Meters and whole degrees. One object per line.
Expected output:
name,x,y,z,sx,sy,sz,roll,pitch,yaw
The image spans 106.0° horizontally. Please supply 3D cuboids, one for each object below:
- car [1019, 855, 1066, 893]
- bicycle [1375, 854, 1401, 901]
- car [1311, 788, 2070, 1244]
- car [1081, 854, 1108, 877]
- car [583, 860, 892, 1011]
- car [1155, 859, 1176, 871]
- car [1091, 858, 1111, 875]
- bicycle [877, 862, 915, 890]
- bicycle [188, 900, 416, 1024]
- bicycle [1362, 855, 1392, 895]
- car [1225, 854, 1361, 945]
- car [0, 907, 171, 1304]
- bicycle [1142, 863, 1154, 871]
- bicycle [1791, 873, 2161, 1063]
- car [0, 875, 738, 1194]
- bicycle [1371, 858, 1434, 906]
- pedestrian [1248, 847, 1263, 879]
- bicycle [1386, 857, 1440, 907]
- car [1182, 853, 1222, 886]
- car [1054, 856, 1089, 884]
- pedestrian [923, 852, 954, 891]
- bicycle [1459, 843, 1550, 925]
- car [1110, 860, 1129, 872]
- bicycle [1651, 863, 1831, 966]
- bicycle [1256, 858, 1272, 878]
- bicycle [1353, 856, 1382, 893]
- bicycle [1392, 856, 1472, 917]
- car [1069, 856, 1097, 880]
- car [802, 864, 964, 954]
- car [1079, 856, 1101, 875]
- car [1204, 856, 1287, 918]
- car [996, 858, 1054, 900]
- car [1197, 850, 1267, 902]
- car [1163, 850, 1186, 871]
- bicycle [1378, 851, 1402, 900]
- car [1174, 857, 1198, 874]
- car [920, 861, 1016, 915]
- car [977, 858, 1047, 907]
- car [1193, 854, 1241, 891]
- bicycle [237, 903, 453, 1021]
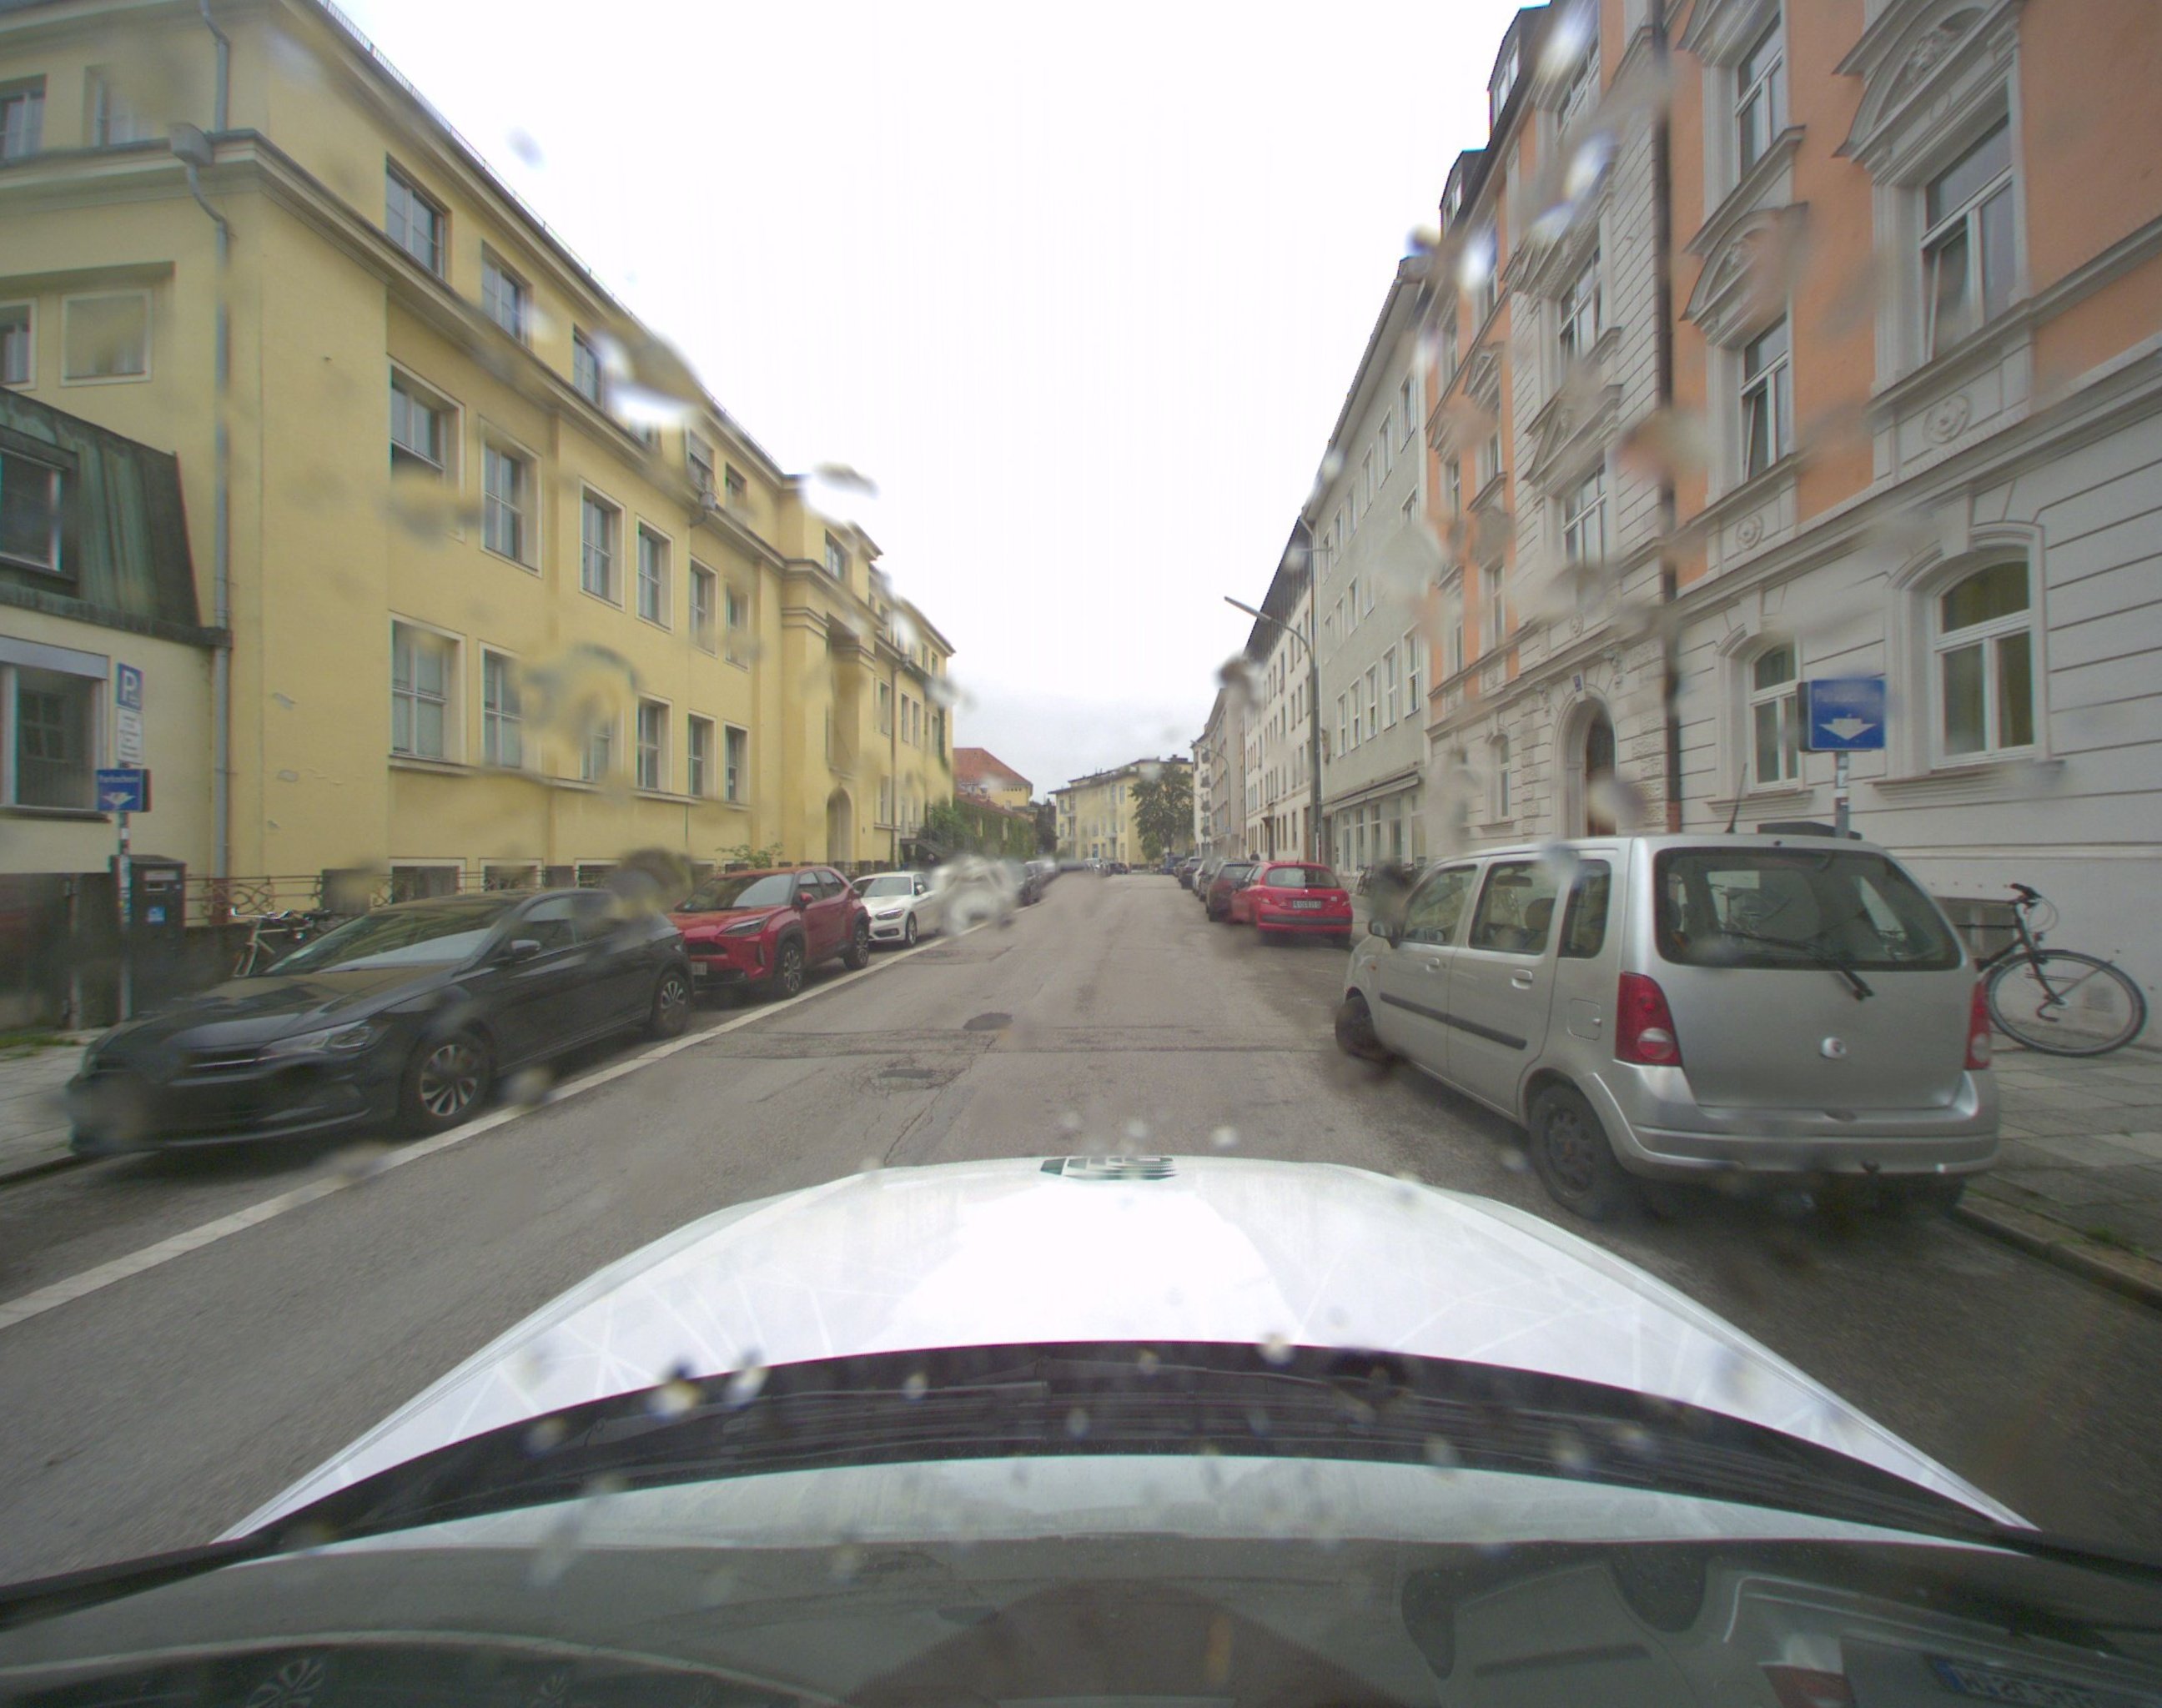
car,-1.800,0.922,39.426,1.738,1.634,4.859,-3,-1,3
bicycle,8.505,0.645,22.590,0.247,1.255,1.234,-2,0,0
car,2.838,0.614,4.943,1.677,1.673,3.800,1,0,-3
car,1.229,1.011,73.608,1.877,1.889,4.782,-4,-1,6
car,-4.183,0.892,10.907,1.950,1.482,4.532,-4,-1,3
car,10.895,1.453,105.093,1.675,1.389,4.295,3,-1,-7
car,2.075,1.287,83.888,1.690,1.643,4.495,-4,-1,4
bicycle,-8.698,1.039,38.286,1.618,1.268,0.528,-2,-1,6
bicycle,-9.083,1.199,9.640,0.533,1.185,2.109,-1,0,5
bicycle,9.009,0.631,24.818,0.393,1.176,1.817,-1,-1,5
car,3.912,0.762,15.666,1.680,1.500,4.149,1,0,2
car,-5.073,0.967,1.235,2.006,1.418,4.619,-4,-1,3
bicycle,11.227,2.161,136.554,1.903,1.201,0.599,-1,-1,42
bicycle,6.517,0.725,6.023,0.721,1.112,1.993,-1,0,-3
car,-4.527,0.961,6.254,1.743,1.405,4.356,-4,-1,2
bicycle,7.807,0.659,19.735,1.856,1.067,0.510,-2,0,-37
pedestrian,9.802,0.516,45.756,0.719,1.763,0.906,-1,-3,6
bicycle,7.816,0.638,19.135,0.614,1.089,1.826,-2,0,40
car,6.003,0.761,40.740,1.830,1.522,4.717,0,-1,7
car,-0.563,1.007,53.015,1.781,1.586,4.822,-4,-1,3
pedestrian,-6.557,0.806,37.537,0.893,1.719,1.064,-2,0,20
bicycle,7.734,0.507,14.985,0.593,1.385,2.093,-2,0,2
car,6.436,2.020,135.979,1.766,1.874,4.354,3,-1,-17
bicycle,7.436,0.631,9.296,0.593,1.024,1.818,-2,0,2
bicycle,11.506,0.857,51.175,0.511,1.222,1.987,-1,0,-1
bicycle,9.408,0.642,26.790,0.382,1.158,1.952,-1,0,5
bicycle,7.306,0.654,16.883,2.102,1.139,0.577,-2,0,-39
car,0.197,1.054,61.215,1.717,1.629,4.470,-3,-1,4
car,-3.811,0.995,16.592,1.786,1.429,4.669,-4,-1,3
car,0.778,0.952,68.164,1.584,1.441,4.022,-4,-1,4
car,4.069,0.764,20.716,1.679,1.402,4.371,-1,-1,7
car,-2.311,1.013,34.476,1.696,1.502,4.499,-6,-1,4
car,4.966,0.689,27.342,1.699,1.592,4.364,0,0,2
car,11.293,0.825,98.898,2.073,2.234,5.241,3,-3,-1
bicycle,8.230,0.567,21.698,0.247,1.255,0.916,-2,0,0
car,9.279,1.023,71.934,1.738,1.388,4.958,1,-1,3
car,-3.228,0.938,24.161,1.776,1.432,4.658,-1,-1,5
car,-2.393,0.979,29.351,1.691,1.497,4.155,-5,-1,5
car,5.522,0.734,33.522,1.664,1.429,4.537,0,-1,6
bicycle,-8.711,1.222,9.786,0.533,1.148,2.109,-1,0,5
